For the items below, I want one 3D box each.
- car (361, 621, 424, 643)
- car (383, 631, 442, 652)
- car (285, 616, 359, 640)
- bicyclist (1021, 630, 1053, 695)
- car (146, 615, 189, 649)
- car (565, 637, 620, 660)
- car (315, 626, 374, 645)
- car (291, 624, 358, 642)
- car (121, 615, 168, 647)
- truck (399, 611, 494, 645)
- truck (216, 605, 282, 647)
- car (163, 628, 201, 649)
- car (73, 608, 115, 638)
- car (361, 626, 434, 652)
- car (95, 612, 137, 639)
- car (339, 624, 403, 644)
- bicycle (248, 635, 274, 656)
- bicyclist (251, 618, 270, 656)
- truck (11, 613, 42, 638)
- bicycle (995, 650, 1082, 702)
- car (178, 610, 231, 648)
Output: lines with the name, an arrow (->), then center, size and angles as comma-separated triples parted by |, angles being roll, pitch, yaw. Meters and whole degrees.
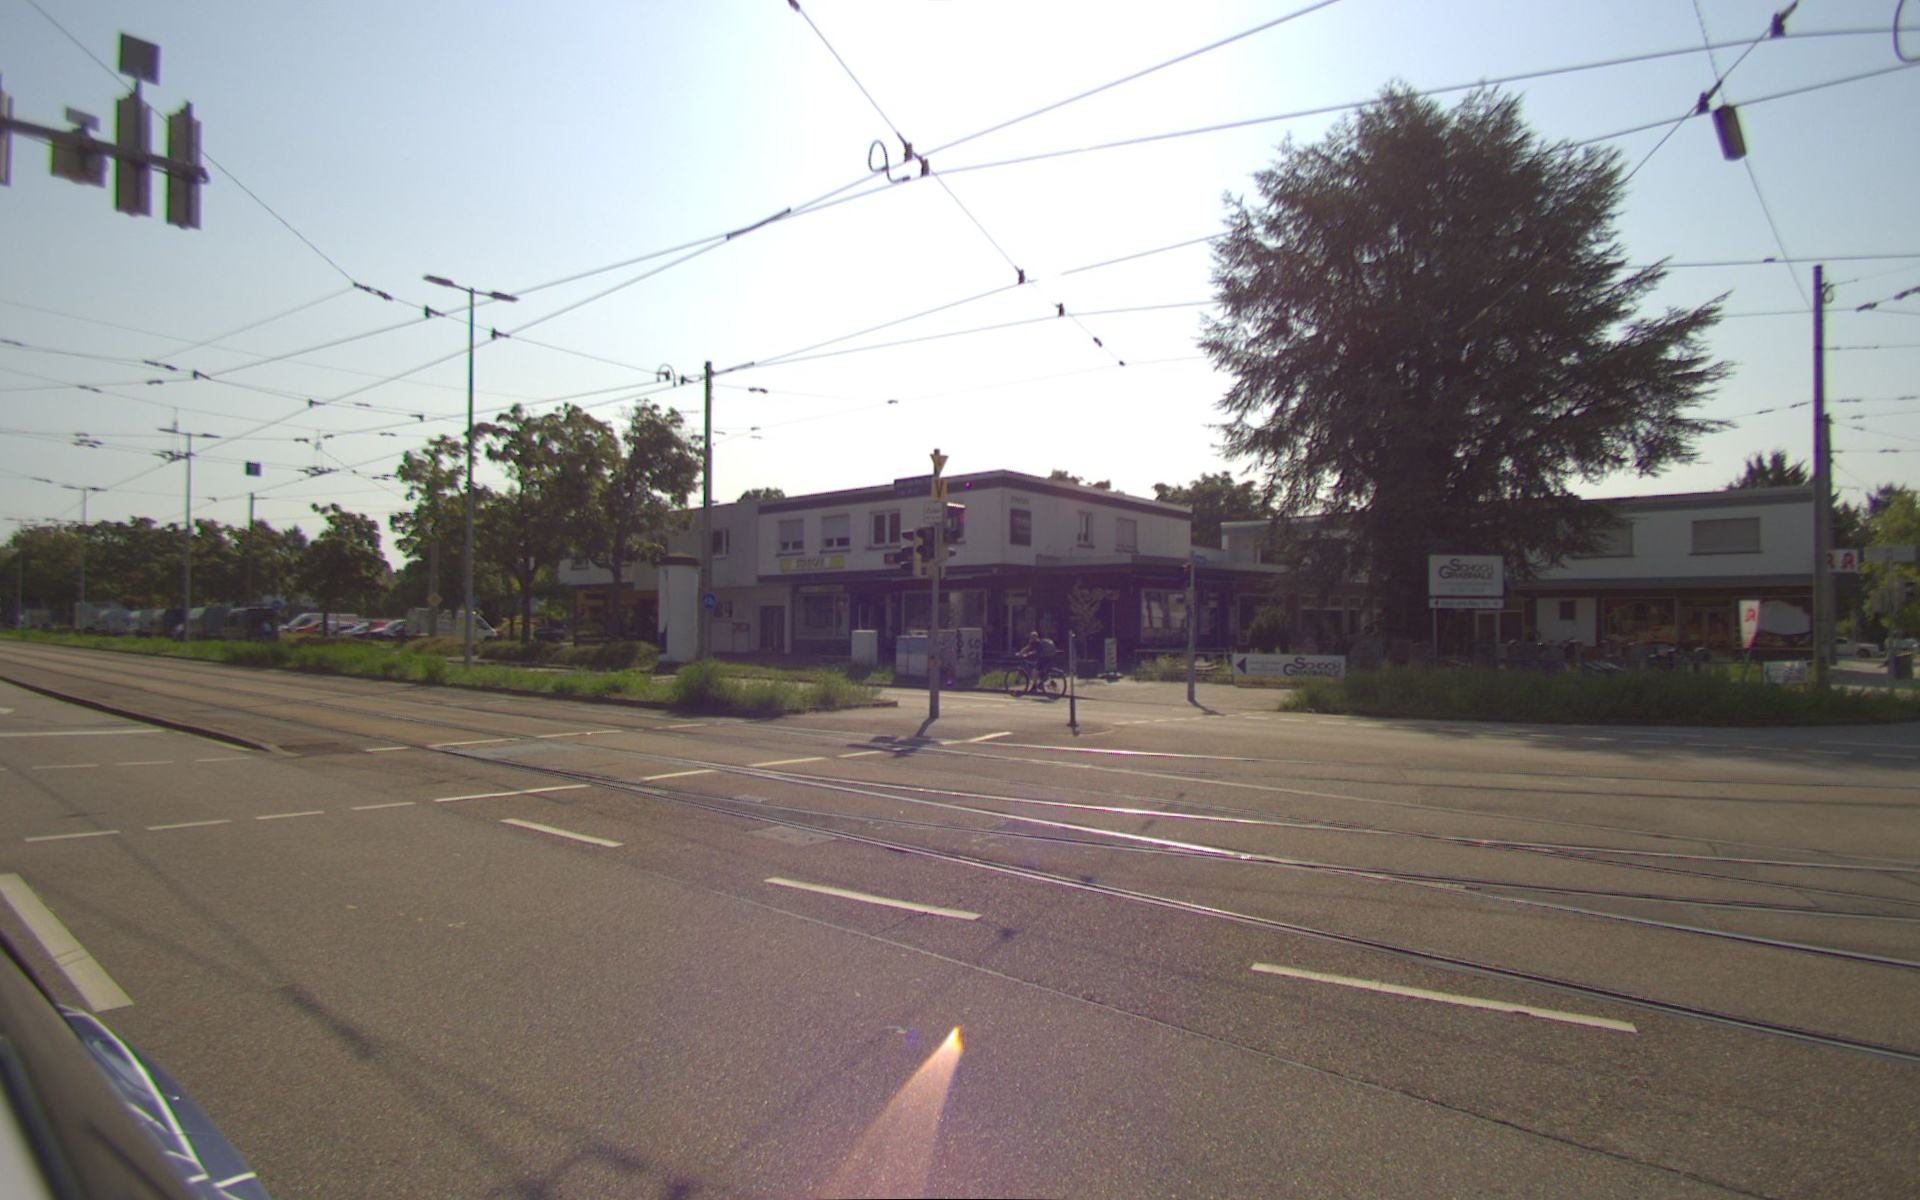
car -> -43.578, 2.442, 77.778 | 1.632, 1.530, 3.883 | -1, -4, 40
car -> -39.702, 3.012, 73.408 | 1.632, 1.437, 3.370 | -1, -4, 40
car -> -57.060, 2.514, 90.610 | 2.051, 1.940, 5.132 | -1, -4, 40
bicyclist -> 1.865, 1.512, 24.422 | 0.490, 1.534, 0.562 | -1, -4, 42
car -> -63.318, 2.539, 80.818 | 5.909, 2.606, 1.802 | -2, -2, 43
car -> -29.839, 3.949, 82.138 | 3.758, 1.782, 1.760 | 5, -4, -44
car -> -51.391, 2.974, 84.547 | 1.632, 1.461, 3.883 | -1, -4, 40
car -> -55.195, 2.878, 87.982 | 1.632, 1.461, 4.606 | -1, -4, 40
car -> -69.560, 2.615, 86.273 | 5.629, 2.606, 2.110 | -1, -4, 42
truck -> -35.834, 1.980, 70.786 | 2.258, 2.189, 5.434 | -1, -4, 40
truck -> -46.599, 1.702, 66.268 | 5.735, 2.567, 2.059 | -1, -4, 41
car -> -58.962, 2.900, 76.682 | 3.834, 1.564, 1.725 | -1, -2, 44
car -> -87.622, 2.348, 102.378 | 7.229, 2.826, 2.102 | -1, -4, 42
car -> -41.878, 2.936, 75.425 | 1.632, 1.798, 4.354 | -1, -4, 40
car -> -80.140, 2.428, 96.054 | 4.828, 2.477, 2.121 | -1, -4, 40
car -> -46.592, 2.669, 80.119 | 1.625, 1.474, 4.109 | -2, -4, 45
bicycle -> -39.714, 2.585, 57.466 | 2.265, 1.099, 0.707 | -1, -4, 43
bicyclist -> -39.753, 2.100, 57.531 | 0.774, 2.080, 0.630 | -1, -4, 42
truck -> -120.387, 3.302, 130.517 | 8.789, 3.145, 2.247 | -1, -4, 44
bicycle -> 1.880, 1.816, 24.397 | 2.208, 1.188, 0.569 | -2, -5, 43
car -> -54.184, 2.057, 72.510 | 6.467, 2.606, 1.966 | -1, -1, 43
